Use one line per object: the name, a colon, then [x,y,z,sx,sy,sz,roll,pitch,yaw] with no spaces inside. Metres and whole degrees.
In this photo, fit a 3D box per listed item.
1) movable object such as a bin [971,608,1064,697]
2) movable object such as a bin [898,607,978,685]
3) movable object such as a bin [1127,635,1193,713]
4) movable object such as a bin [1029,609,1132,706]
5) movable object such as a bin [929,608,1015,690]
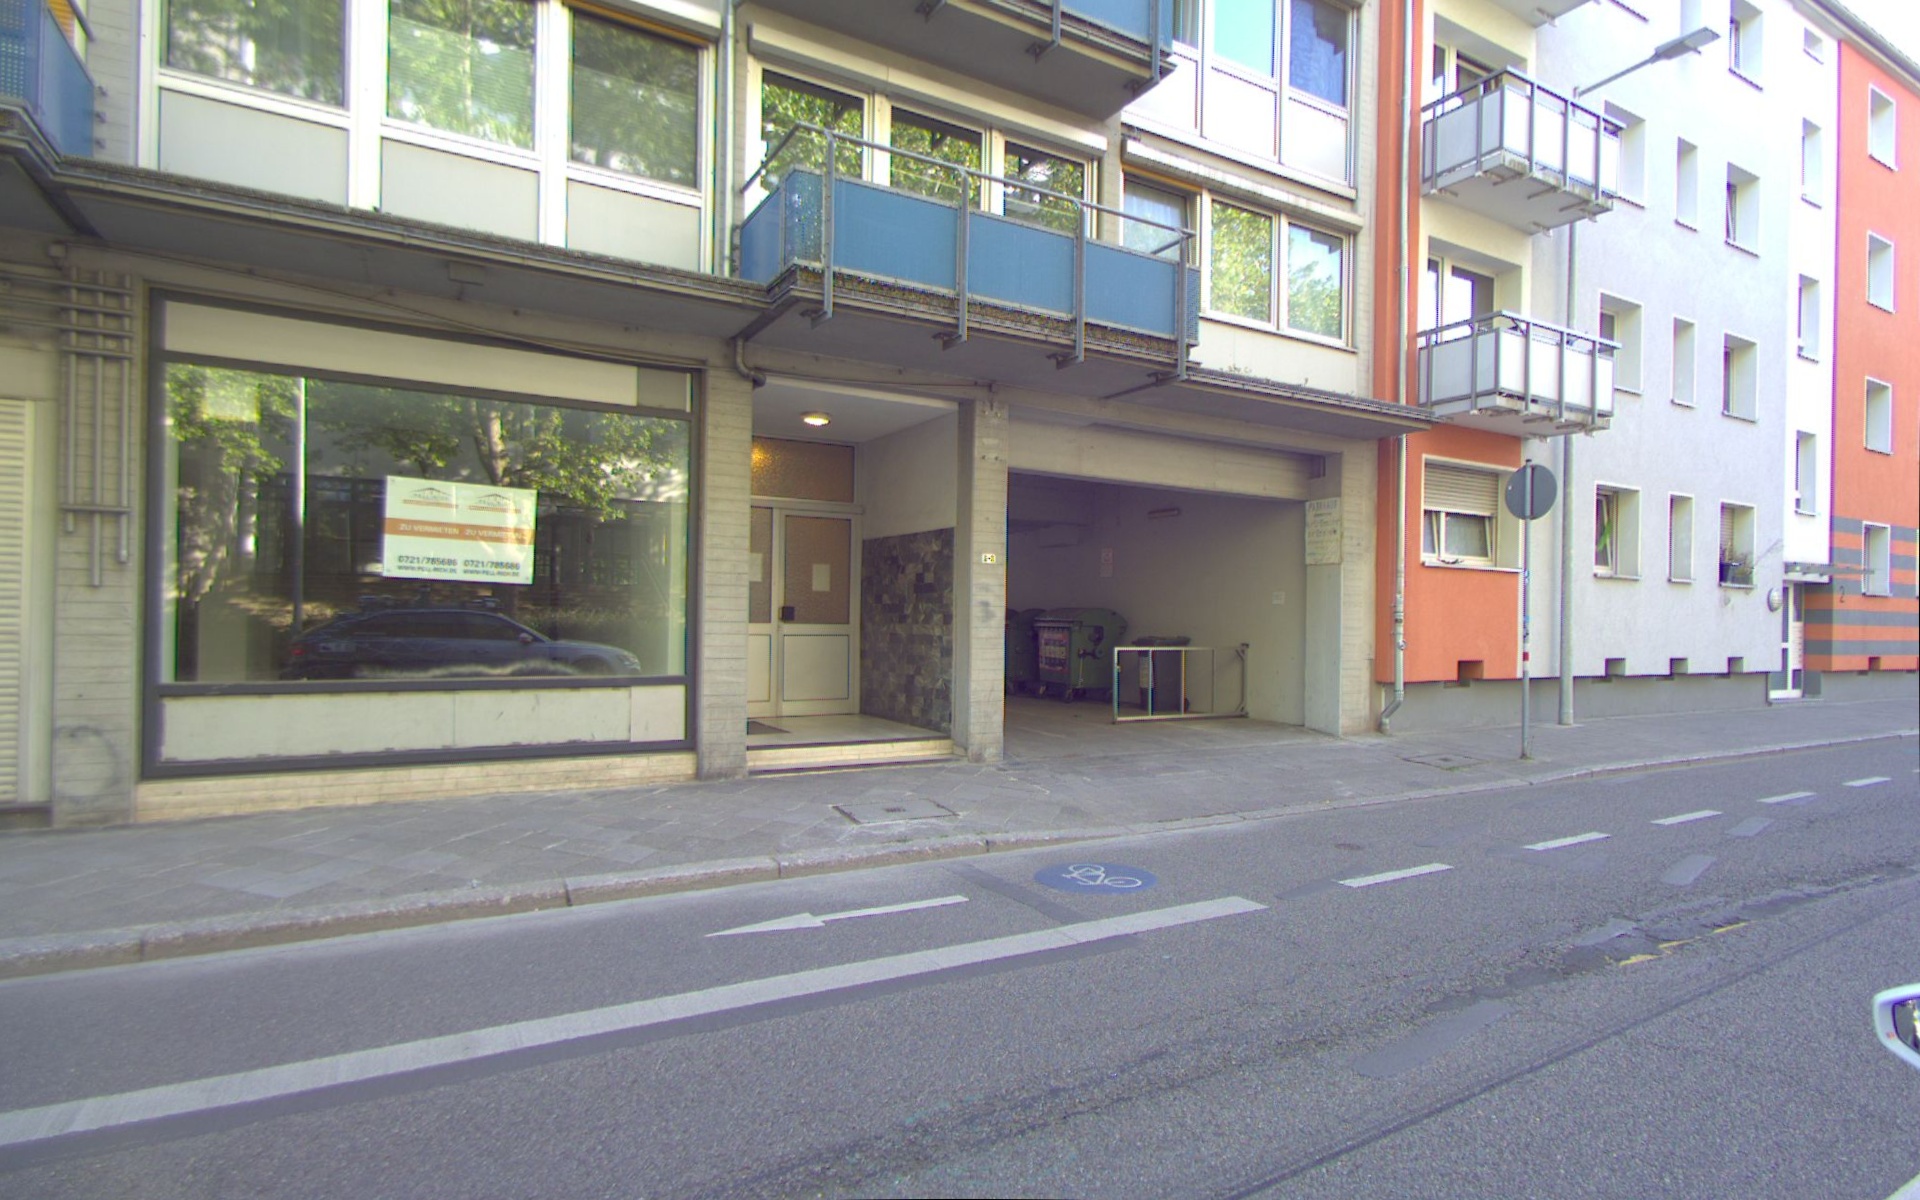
movable object such as a bin: [0.974,0.866,17.166,1.116,1.444,1.201,1,0,-30]
movable object such as a bin: [-0.444,0.879,19.613,1.116,1.444,1.201,1,0,-30]
movable object such as a bin: [2.883,1.053,14.496,0.667,1.079,0.639,1,0,-30]
movable object such as a bin: [1.886,0.871,15.807,1.116,1.444,1.201,1,0,-30]
movable object such as a bin: [0.203,0.872,18.464,1.116,1.444,1.201,1,0,-30]
